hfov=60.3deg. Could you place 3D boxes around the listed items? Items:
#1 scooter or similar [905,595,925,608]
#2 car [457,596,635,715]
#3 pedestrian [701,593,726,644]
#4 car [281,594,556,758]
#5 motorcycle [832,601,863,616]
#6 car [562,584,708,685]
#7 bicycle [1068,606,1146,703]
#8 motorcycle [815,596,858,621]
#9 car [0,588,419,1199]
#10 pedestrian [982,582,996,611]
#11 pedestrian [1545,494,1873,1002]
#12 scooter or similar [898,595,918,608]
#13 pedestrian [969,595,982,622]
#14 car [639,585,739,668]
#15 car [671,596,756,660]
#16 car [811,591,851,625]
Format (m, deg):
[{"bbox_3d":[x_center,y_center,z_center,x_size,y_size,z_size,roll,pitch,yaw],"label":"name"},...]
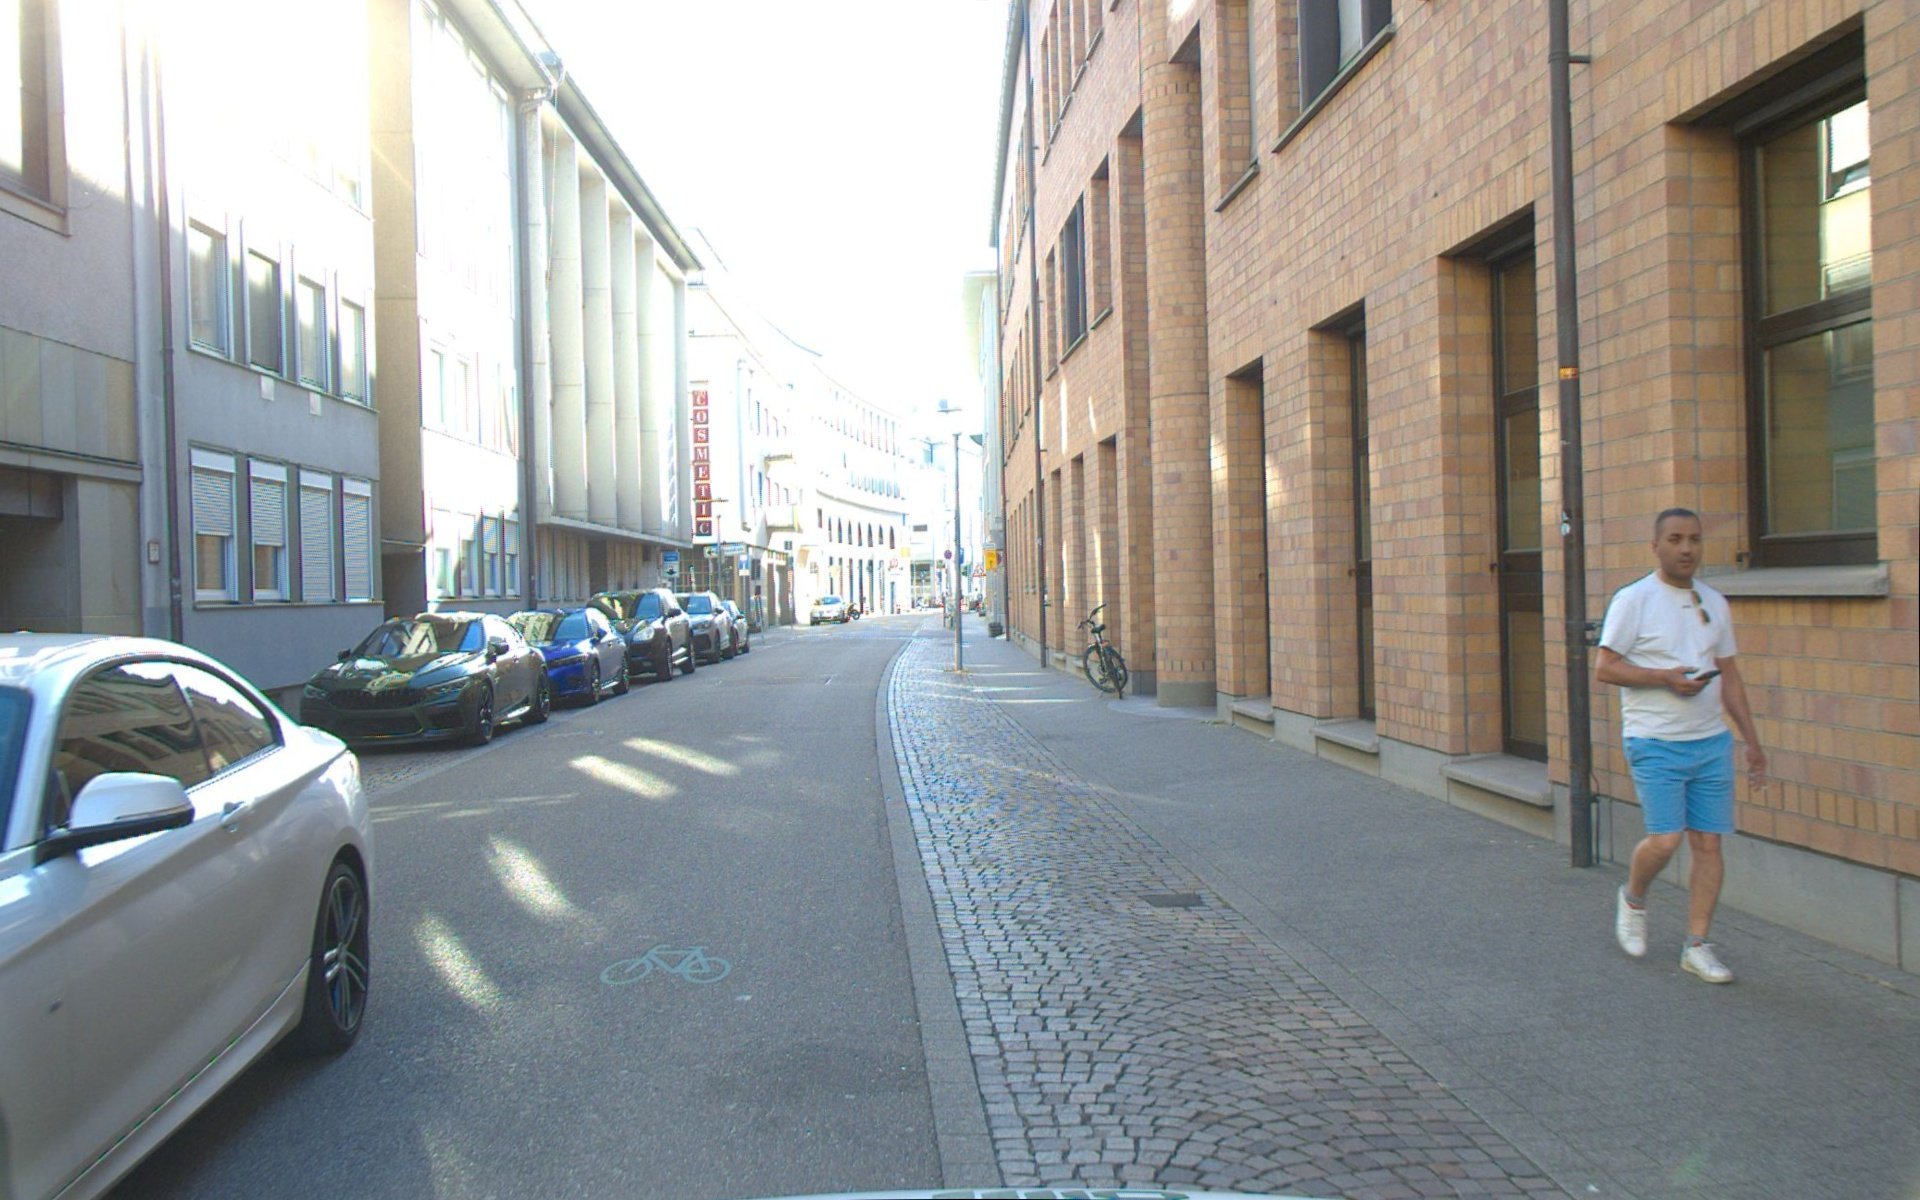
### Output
[{"bbox_3d":[-3.518,0.101,130.821,0.515,0.944,2.224,0,0,29],"label":"scooter or similar"},{"bbox_3d":[-6.196,0.767,25.219,1.853,1.556,4.336,-2,1,-4],"label":"car"},{"bbox_3d":[-8.105,0.596,54.478,0.641,1.654,0.450,-1,0,-42],"label":"pedestrian"},{"bbox_3d":[-6.047,0.760,19.090,1.853,1.556,4.725,-2,1,-4],"label":"car"},{"bbox_3d":[-6.257,0.471,91.866,1.655,0.874,0.595,0,-1,4],"label":"motorcycle"},{"bbox_3d":[-6.076,0.591,31.433,1.851,1.705,4.553,-2,1,-1],"label":"car"},{"bbox_3d":[1.869,0.669,21.267,0.539,1.122,1.979,-5,1,-6],"label":"bicycle"},{"bbox_3d":[-7.145,0.476,95.543,2.342,1.340,0.862,-3,0,-1],"label":"motorcycle"},{"bbox_3d":[-2.694,0.775,4.012,1.681,1.544,4.155,-2,1,-5],"label":"car"},{"bbox_3d":[1.949,-0.235,112.757,0.652,1.901,0.753,1,-1,-31],"label":"pedestrian"},{"bbox_3d":[2.795,0.517,6.254,0.745,1.746,0.821,-3,0,-4],"label":"pedestrian"},{"bbox_3d":[-3.992,0.131,127.336,0.515,0.944,2.224,0,0,29],"label":"scooter or similar"},{"bbox_3d":[1.119,0.607,117.912,0.652,1.901,0.778,1,-1,-31],"label":"pedestrian"},{"bbox_3d":[-6.300,0.565,38.878,1.853,1.772,4.387,-2,1,-4],"label":"car"},{"bbox_3d":[-6.492,0.703,43.915,1.615,1.486,3.998,-4,0,-1],"label":"car"},{"bbox_3d":[-6.567,0.387,84.523,1.701,1.634,3.533,-1,0,0],"label":"car"}]
